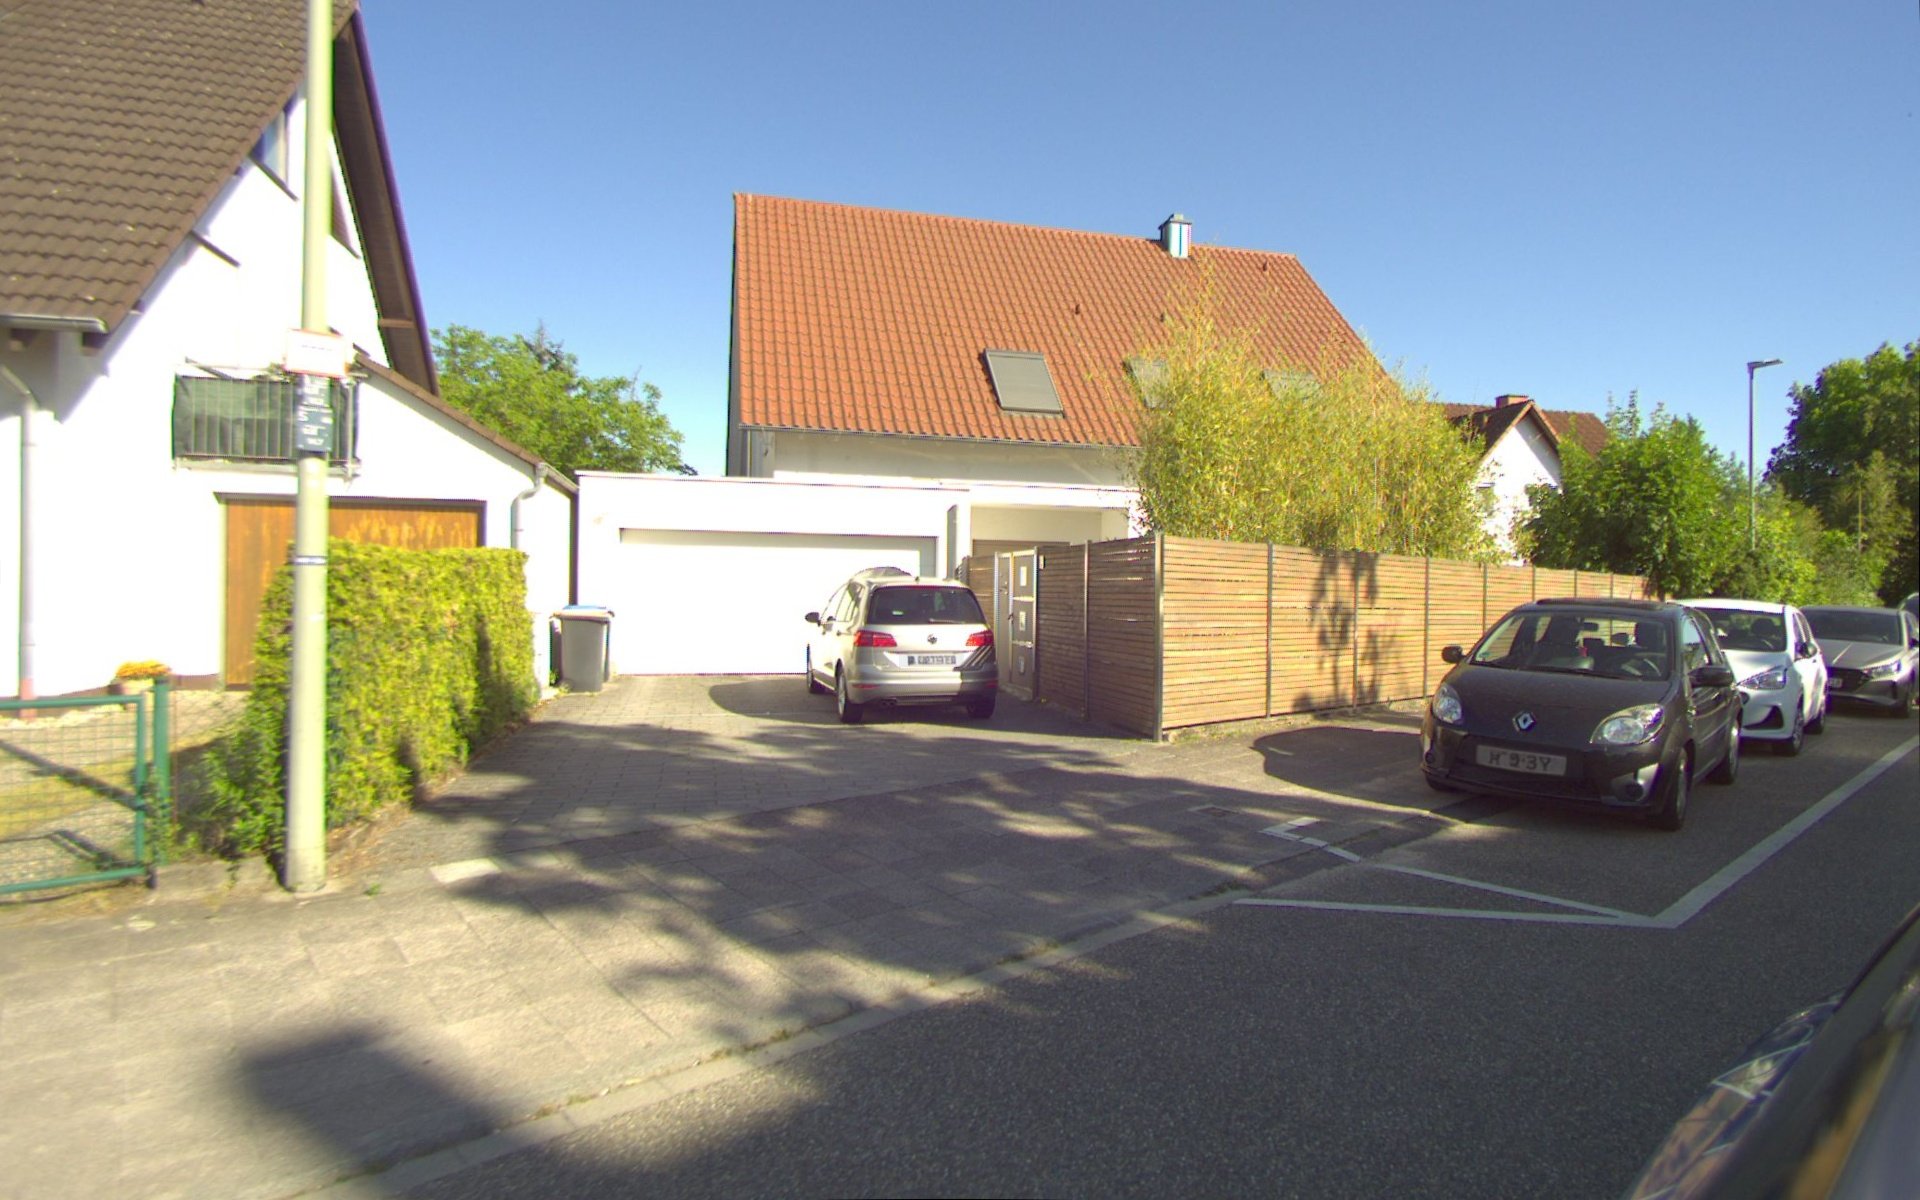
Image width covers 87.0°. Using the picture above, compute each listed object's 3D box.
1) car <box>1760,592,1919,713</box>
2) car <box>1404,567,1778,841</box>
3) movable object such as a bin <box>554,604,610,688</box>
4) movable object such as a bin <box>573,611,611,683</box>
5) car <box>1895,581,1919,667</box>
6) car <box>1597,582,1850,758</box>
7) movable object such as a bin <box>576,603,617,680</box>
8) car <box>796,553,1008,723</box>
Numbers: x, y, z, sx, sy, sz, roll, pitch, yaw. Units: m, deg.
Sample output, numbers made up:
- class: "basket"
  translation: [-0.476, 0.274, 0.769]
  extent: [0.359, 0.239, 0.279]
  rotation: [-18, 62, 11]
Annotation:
- class: "car"
  translation: [13.180, 0.668, 14.715]
  extent: [3.819, 1.512, 1.646]
  rotation: [0, 1, -40]
- class: "car"
  translation: [5.069, 0.609, 7.918]
  extent: [3.753, 1.621, 1.657]
  rotation: [0, 0, -44]
- class: "movable object such as a bin"
  translation: [-4.913, 0.591, 13.182]
  extent: [0.611, 1.056, 0.513]
  rotation: [1, 0, -13]
- class: "movable object such as a bin"
  translation: [-4.994, 0.636, 13.738]
  extent: [0.431, 0.954, 0.365]
  rotation: [1, 0, -13]
- class: "car"
  translation: [22.534, 0.535, 22.783]
  extent: [4.353, 1.836, 1.746]
  rotation: [0, 1, -42]
- class: "car"
  translation: [8.591, 0.641, 11.274]
  extent: [3.753, 1.621, 1.725]
  rotation: [0, 0, -44]
- class: "movable object such as a bin"
  translation: [-5.092, 0.569, 14.186]
  extent: [0.475, 1.056, 0.488]
  rotation: [1, 0, -13]
- class: "car"
  translation: [-0.880, 0.351, 12.294]
  extent: [1.675, 1.706, 4.009]
  rotation: [1, 1, -17]
